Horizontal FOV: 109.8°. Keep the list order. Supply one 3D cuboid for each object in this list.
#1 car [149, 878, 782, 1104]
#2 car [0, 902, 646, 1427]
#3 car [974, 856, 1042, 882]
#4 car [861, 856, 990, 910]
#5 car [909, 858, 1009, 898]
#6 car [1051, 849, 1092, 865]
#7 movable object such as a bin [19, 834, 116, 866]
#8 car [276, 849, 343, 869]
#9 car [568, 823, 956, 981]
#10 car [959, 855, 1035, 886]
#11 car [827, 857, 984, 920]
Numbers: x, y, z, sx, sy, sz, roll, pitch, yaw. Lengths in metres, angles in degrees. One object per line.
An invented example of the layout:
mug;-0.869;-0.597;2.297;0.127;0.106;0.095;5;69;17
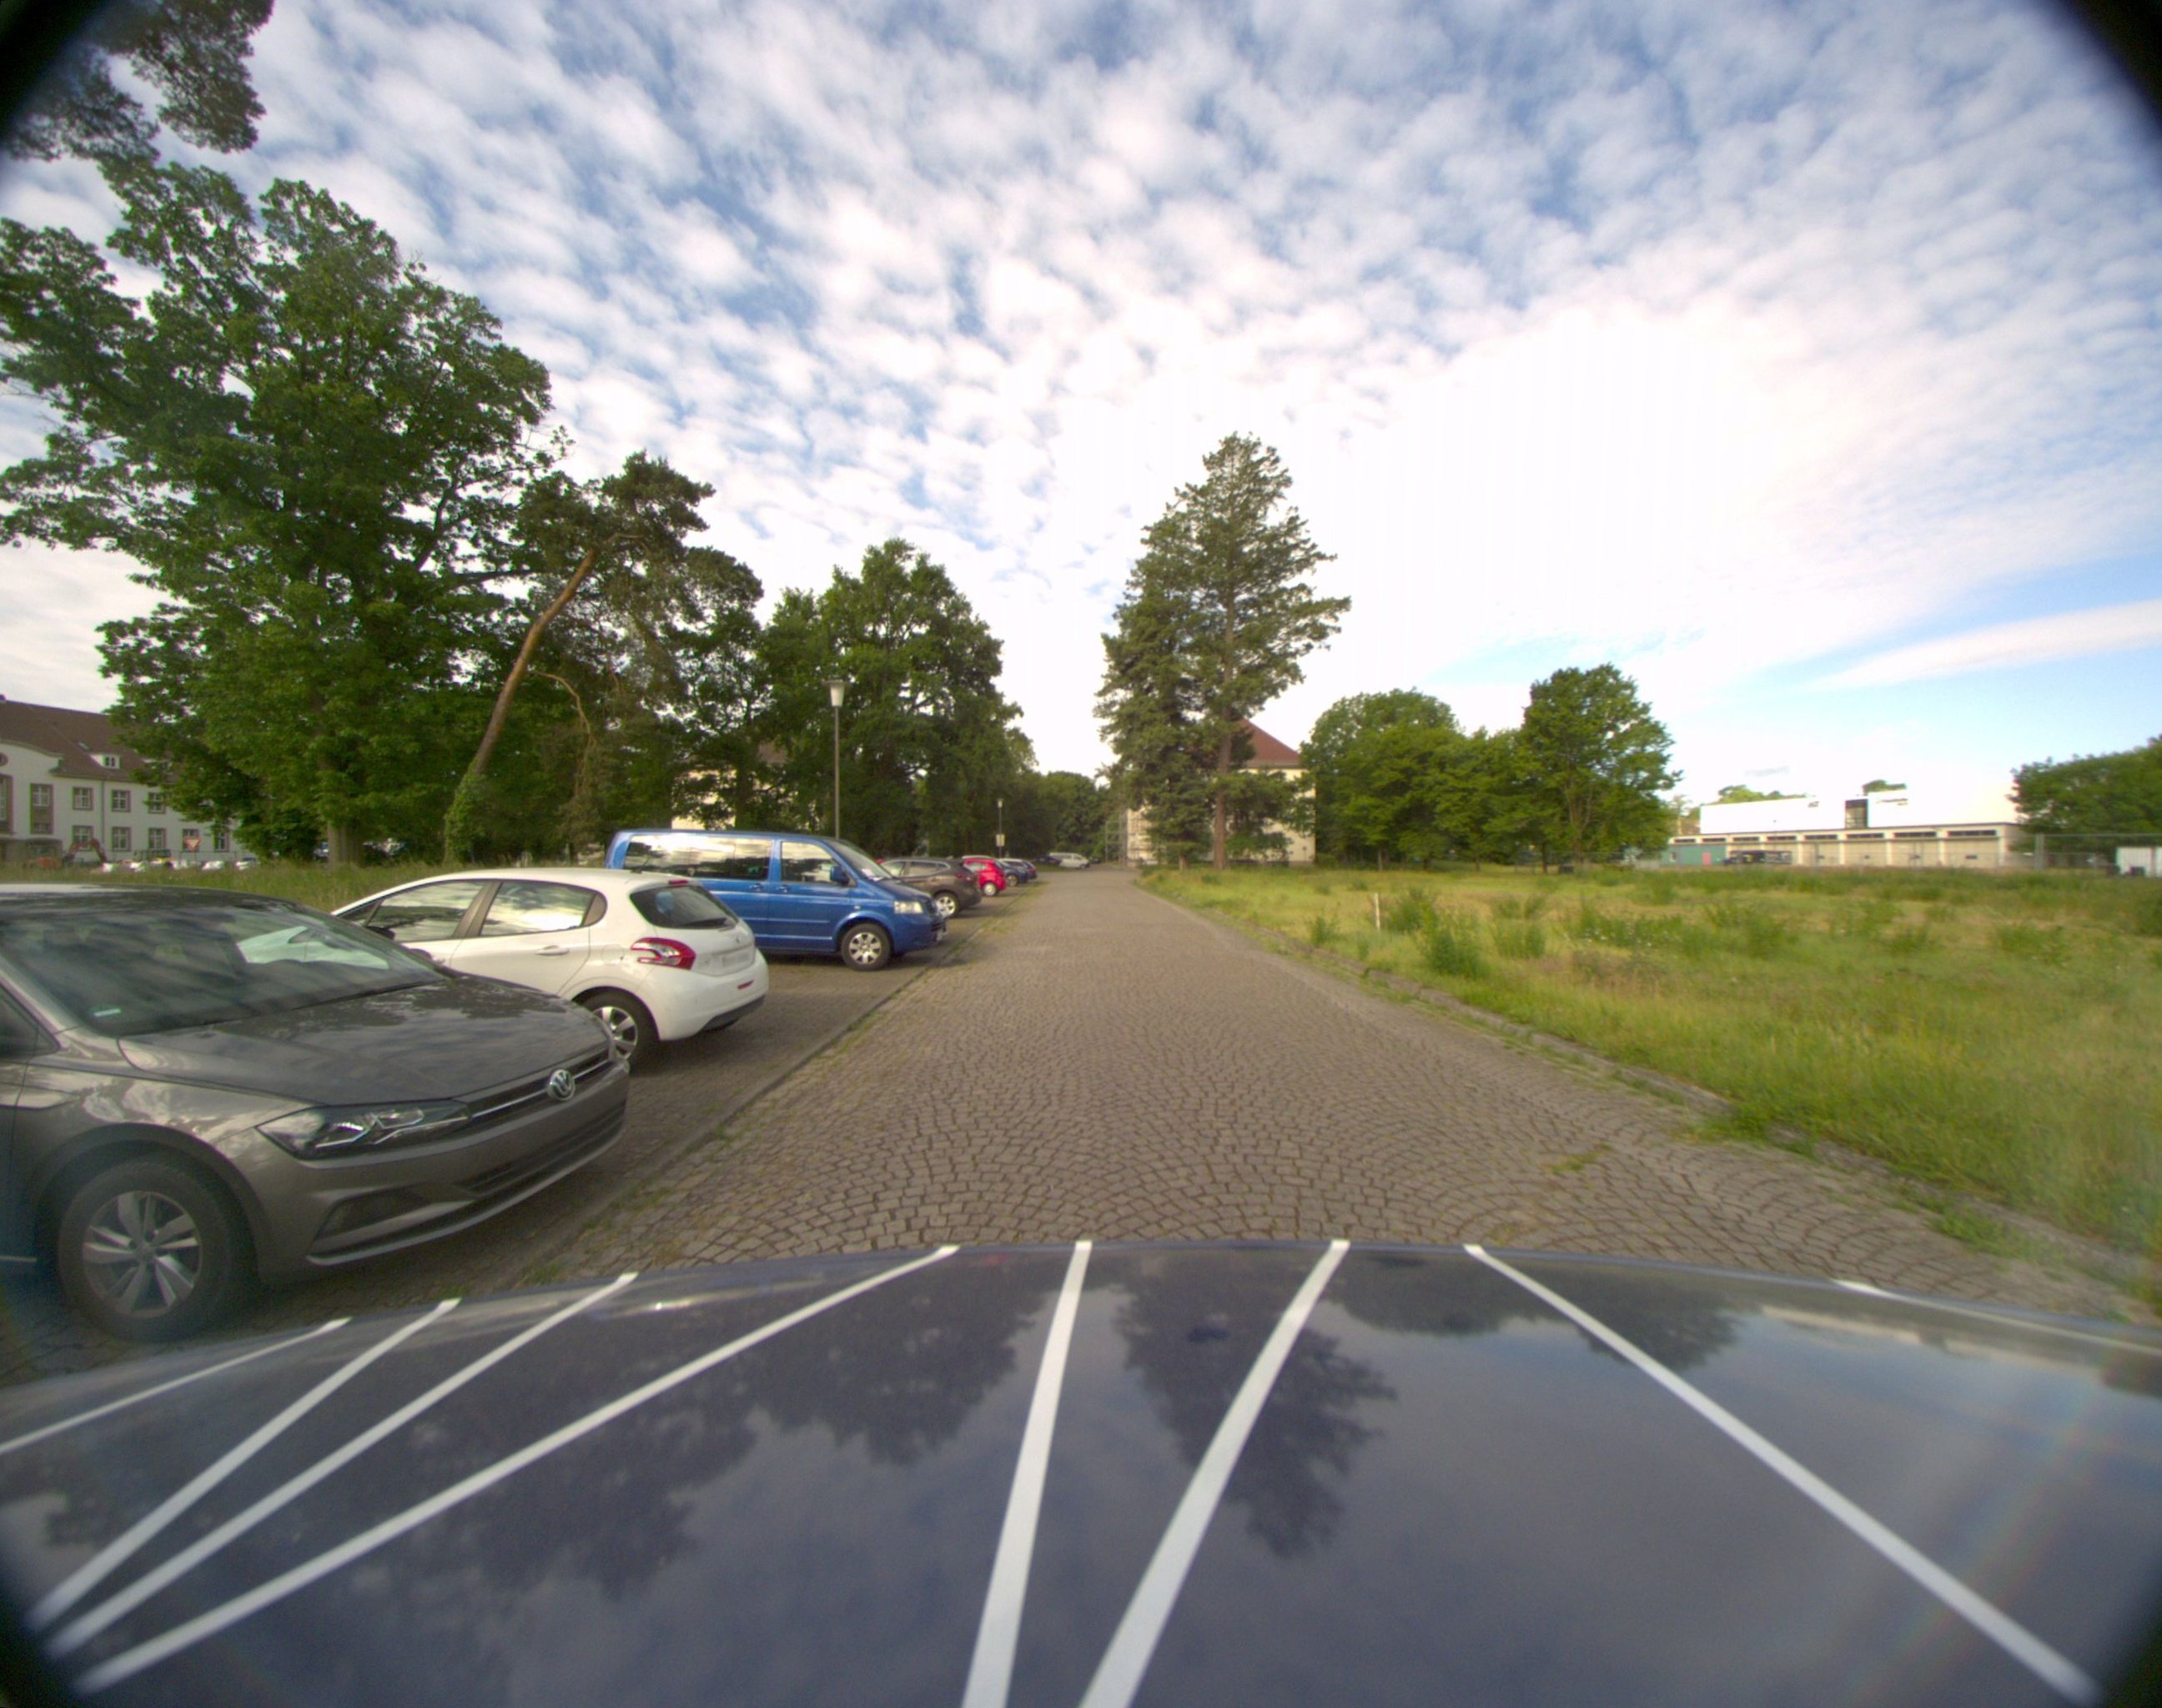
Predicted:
car;-4.579;0.969;6.040;3.761;1.490;1.581;0;1;2
car;-4.160;0.984;3.134;3.781;1.457;1.643;0;0;2
car;-4.385;0.857;45.699;3.836;1.520;1.674;0;0;4
car;-4.639;0.852;23.063;3.634;1.592;1.580;0;0;-4
car;-4.846;0.933;30.490;3.839;1.516;1.580;0;1;-4
car;-1.191;0.384;94.396;5.130;2.002;1.804;0;1;-2
movable object such as a bin;-90.516;-0.382;67.988;1.999;2.752;5.201;0;0;-5
car;-68.319;0.407;67.376;1.847;1.674;3.937;1;0;3
car;-4.570;0.655;11.494;4.954;2.011;2.060;2;0;1
car;-4.491;0.882;40.936;3.836;1.609;1.582;0;1;4
car;-4.550;0.868;20.141;3.839;1.592;1.580;0;0;-4
